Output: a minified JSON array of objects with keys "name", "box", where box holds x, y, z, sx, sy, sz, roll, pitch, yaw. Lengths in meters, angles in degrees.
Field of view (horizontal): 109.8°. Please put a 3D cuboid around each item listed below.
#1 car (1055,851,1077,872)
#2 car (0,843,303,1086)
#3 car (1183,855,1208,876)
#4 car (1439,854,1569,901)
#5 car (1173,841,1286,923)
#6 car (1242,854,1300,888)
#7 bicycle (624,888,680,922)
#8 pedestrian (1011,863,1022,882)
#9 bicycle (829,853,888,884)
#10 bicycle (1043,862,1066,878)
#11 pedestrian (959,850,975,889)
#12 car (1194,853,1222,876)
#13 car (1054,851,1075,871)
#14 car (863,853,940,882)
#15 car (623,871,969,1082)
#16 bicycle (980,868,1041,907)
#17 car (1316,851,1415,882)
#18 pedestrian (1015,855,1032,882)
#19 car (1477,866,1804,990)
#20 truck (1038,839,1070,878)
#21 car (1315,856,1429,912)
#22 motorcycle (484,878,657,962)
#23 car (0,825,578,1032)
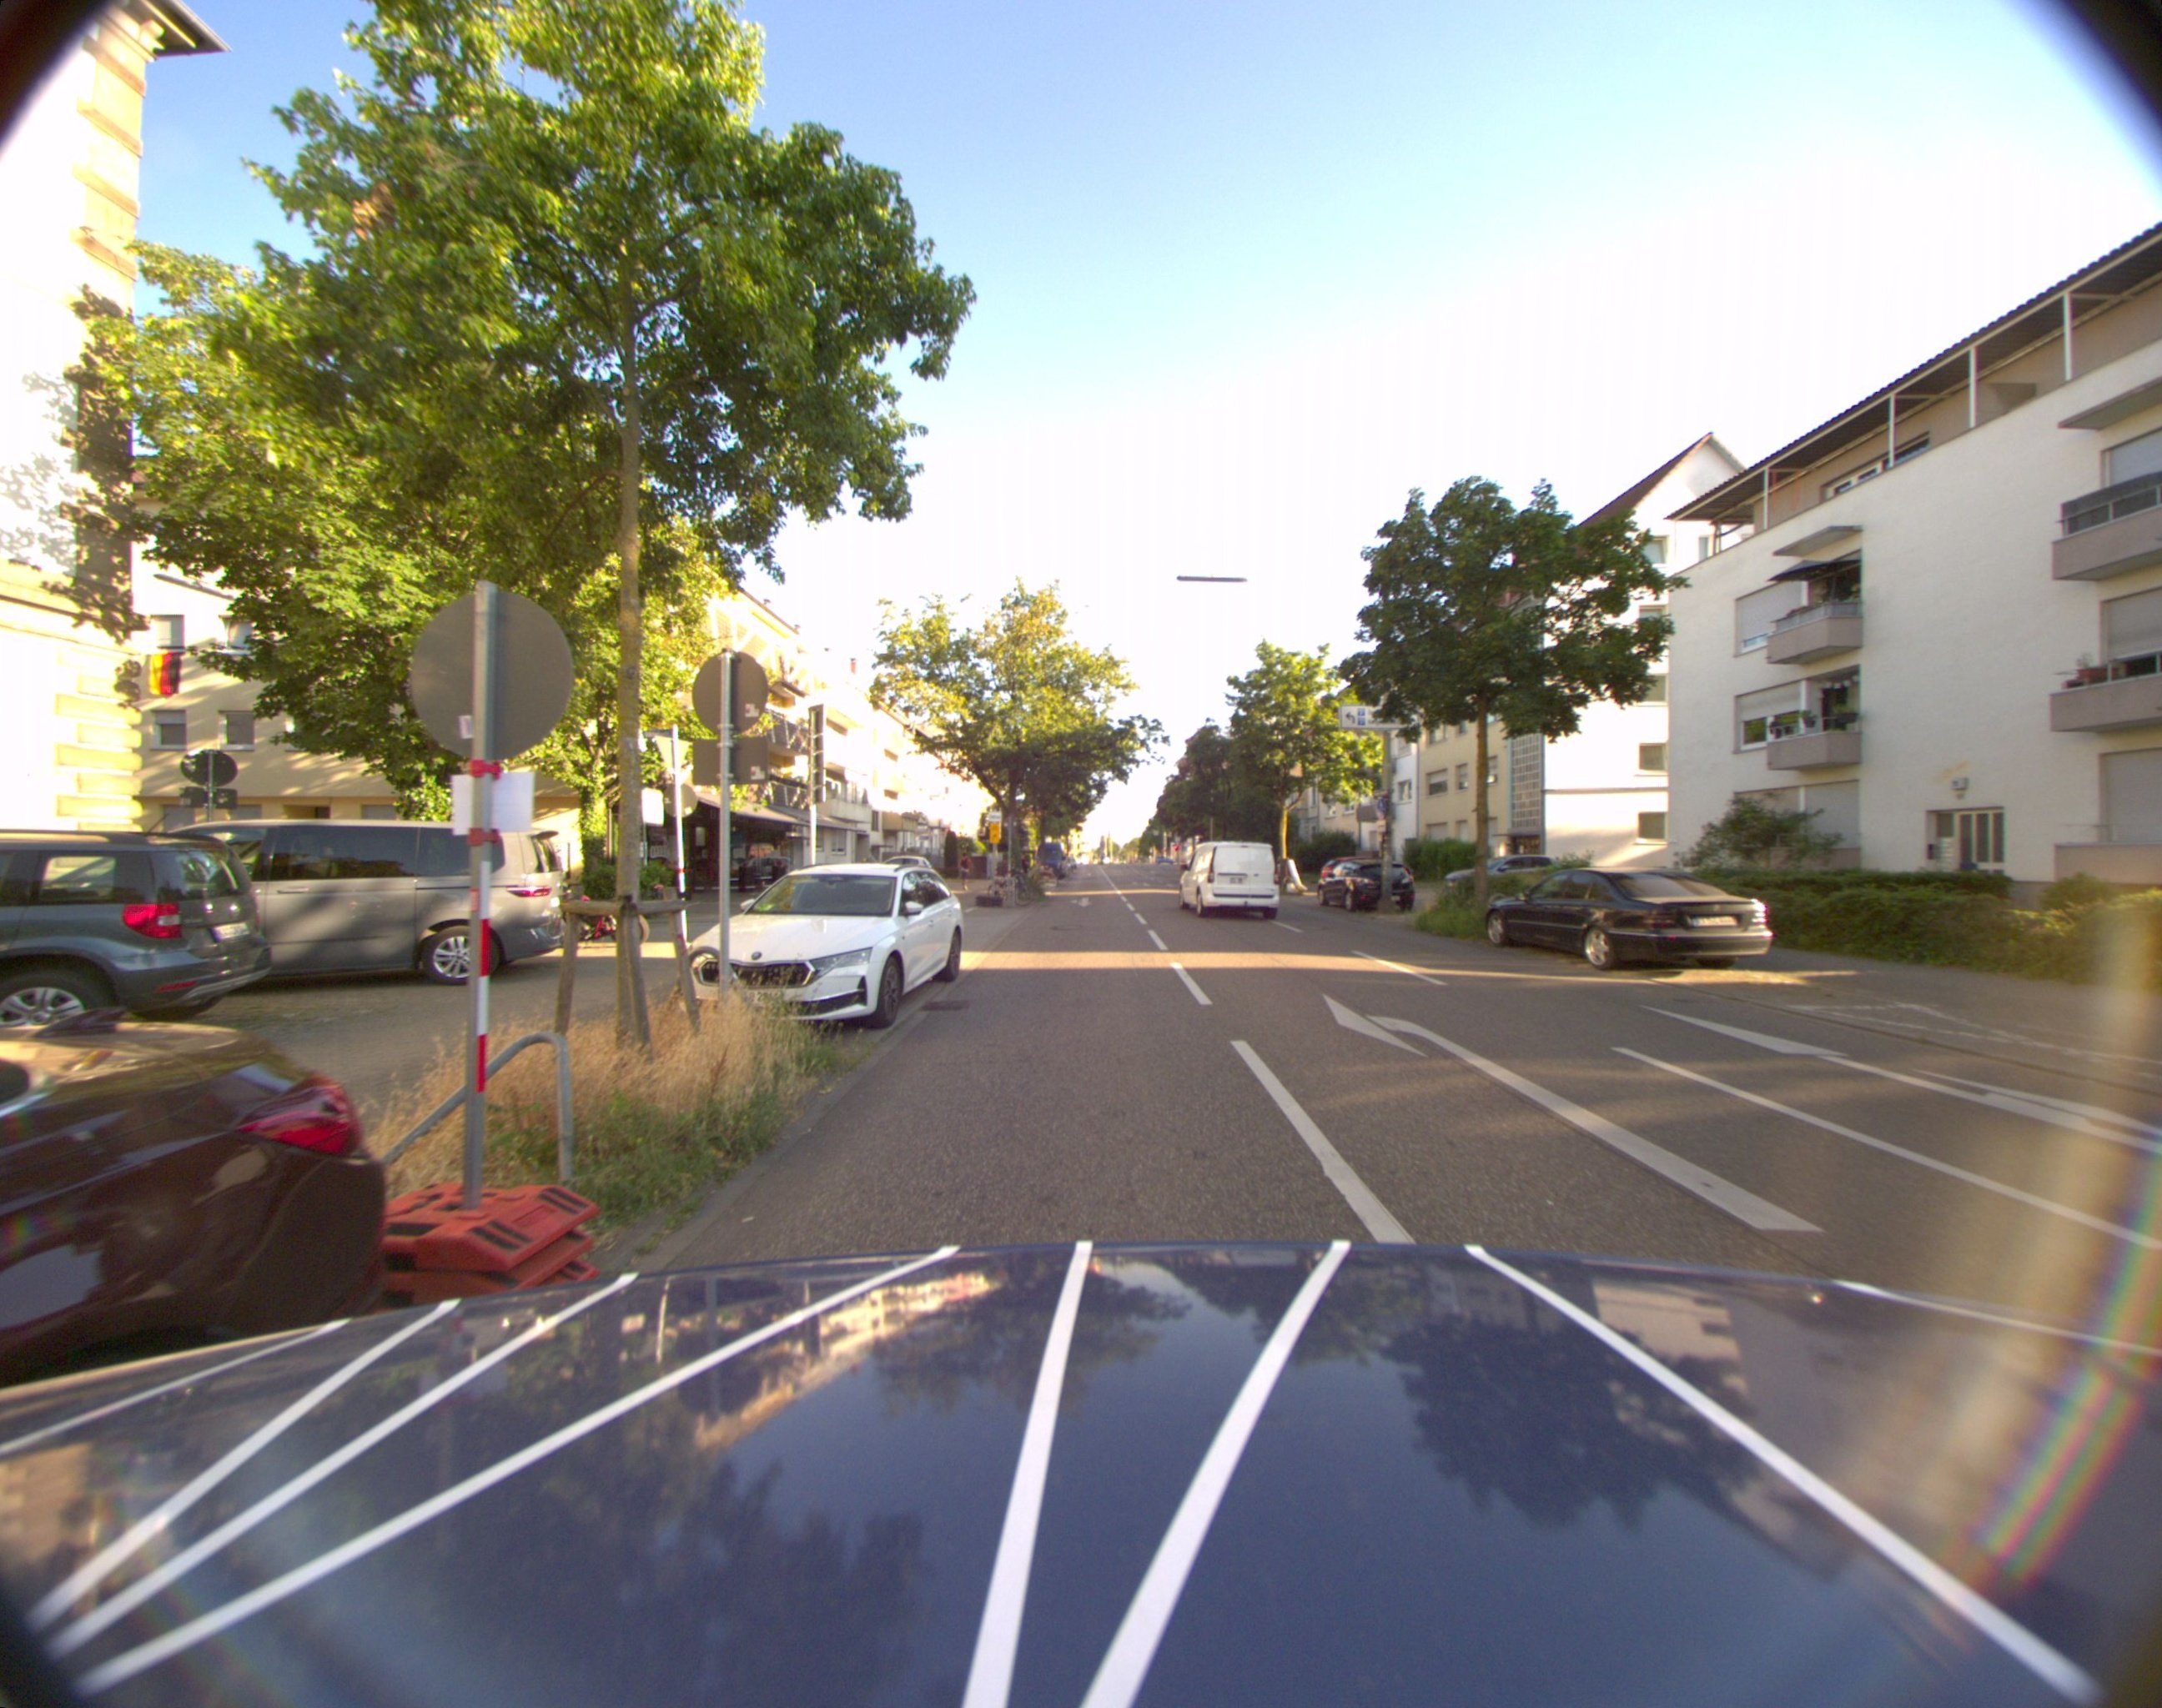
[{"name":"car","box":[-1.260,0.617,65.284,1.704,1.739,4.000,0,0,2]},{"name":"car","box":[-8.871,0.758,5.552,4.106,1.689,1.783,0,0,-29]},{"name":"car","box":[8.600,0.845,57.125,1.407,1.456,3.683,-2,1,2]},{"name":"car","box":[14.338,0.777,25.885,3.467,1.515,1.686,0,0,2]},{"name":"car","box":[3.612,0.626,19.291,1.893,1.793,4.430,2,0,-1]},{"name":"car","box":[8.511,0.715,34.263,1.740,1.455,3.636,0,0,1]},{"name":"bicycle","box":[-10.841,1.273,19.254,0.486,0.763,1.531,0,0,2]},{"name":"pedestrian","box":[-3.622,1.060,42.936,0.553,1.053,0.532,0,1,2]},{"name":"bicycle","box":[-10.306,0.657,35.336,2.459,1.433,0.928,0,1,-1]},{"name":"bicycle","box":[-1.778,1.057,51.030,1.469,1.058,0.445,0,1,1]},{"name":"pedestrian","box":[-5.148,0.687,34.202,0.619,1.761,0.562,0,0,2]},{"name":"car","box":[8.797,0.705,52.657,1.407,1.397,3.683,-2,1,2]},{"name":"car","box":[-1.504,0.616,70.194,1.704,1.739,4.000,0,0,2]},{"name":"car","box":[-9.762,0.716,41.472,3.878,1.496,1.575,0,0,-4]},{"name":"car","box":[-2.487,0.975,8.029,1.825,1.469,4.621,0,0,1]},{"name":"bicycle","box":[-2.269,1.055,24.365,1.894,1.155,0.616,2,1,28]},{"name":"car","box":[14.975,0.642,40.074,4.563,1.397,1.739,-2,1,-9]},{"name":"pedestrian","box":[-3.145,0.780,41.640,0.917,1.435,0.811,0,1,-1]},{"name":"car","box":[7.878,0.925,11.349,1.641,1.399,4.444,0,0,0]},{"name":"truck","box":[-1.888,0.304,54.562,1.998,2.629,5.616,0,0,1]},{"name":"car","box":[8.407,0.802,22.359,1.862,1.477,4.000,0,0,1]},{"name":"motorcycle","box":[-8.151,1.034,12.239,2.163,1.232,0.789,0,1,-9]},{"name":"car","box":[-8.788,0.671,8.608,4.946,1.888,1.916,0,0,-28]}]
